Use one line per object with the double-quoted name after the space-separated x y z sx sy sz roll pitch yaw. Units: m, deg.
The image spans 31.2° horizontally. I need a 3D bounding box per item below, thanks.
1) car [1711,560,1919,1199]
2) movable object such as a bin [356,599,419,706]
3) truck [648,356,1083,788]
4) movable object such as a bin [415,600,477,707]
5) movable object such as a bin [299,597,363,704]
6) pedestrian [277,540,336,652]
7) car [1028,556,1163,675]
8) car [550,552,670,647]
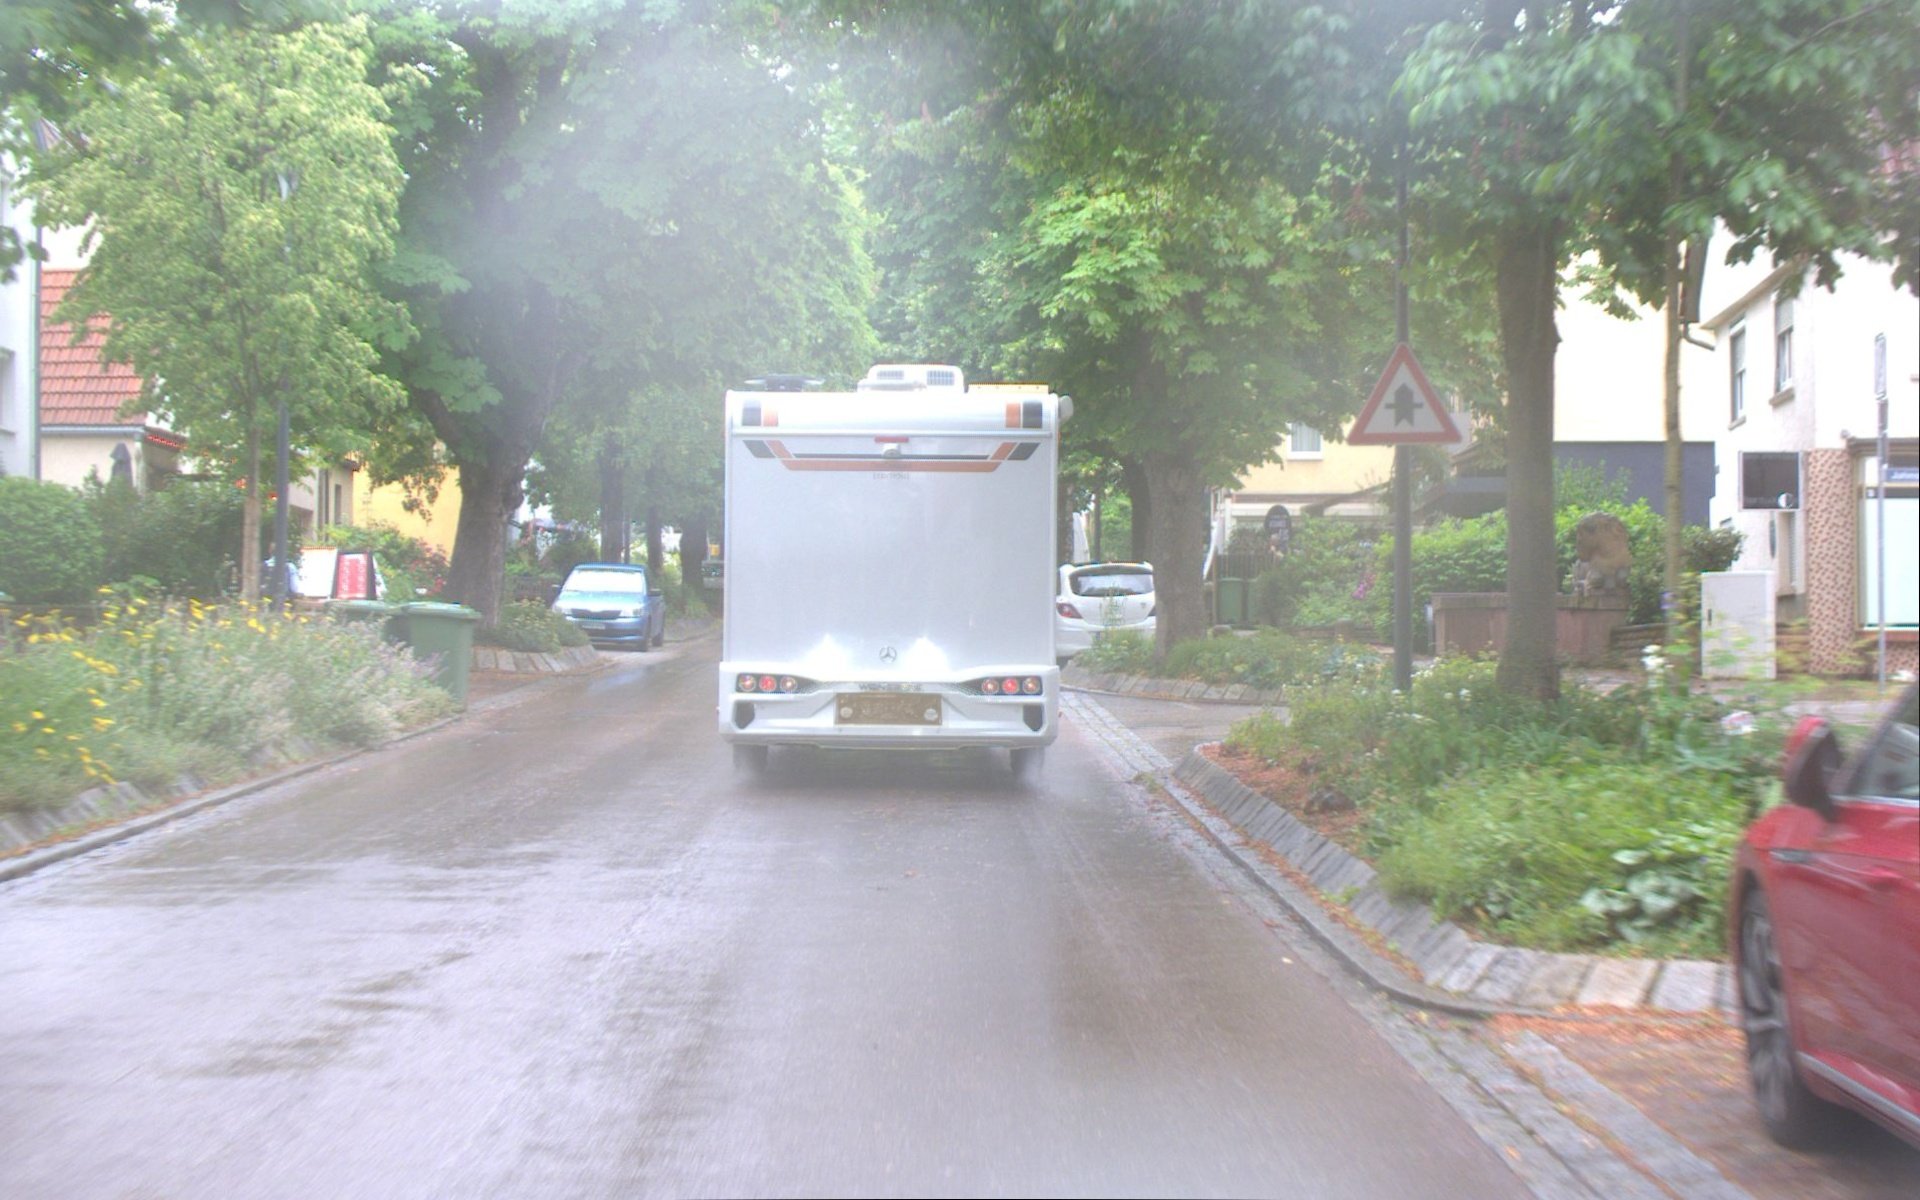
2.834 0.651 6.978 1.855 1.467 4.365 -2 1 4 "car"
-5.690 0.519 34.168 0.528 1.055 0.562 -1 0 0 "movable object such as a bin"
-0.690 -0.173 25.508 2.805 2.787 6.107 -1 0 -1 "truck"
-5.106 0.529 34.186 0.528 1.055 0.562 -1 0 0 "movable object such as a bin"
-6.250 0.500 34.158 0.528 1.055 0.562 -1 0 0 "movable object such as a bin"
-10.837 -0.070 57.025 0.817 1.838 0.770 -1 0 -1 "pedestrian"
1.810 0.212 46.837 1.649 1.536 3.530 -1 0 -1 "car"
-6.042 0.005 59.037 1.797 1.547 4.001 -1 0 -9 "car"
